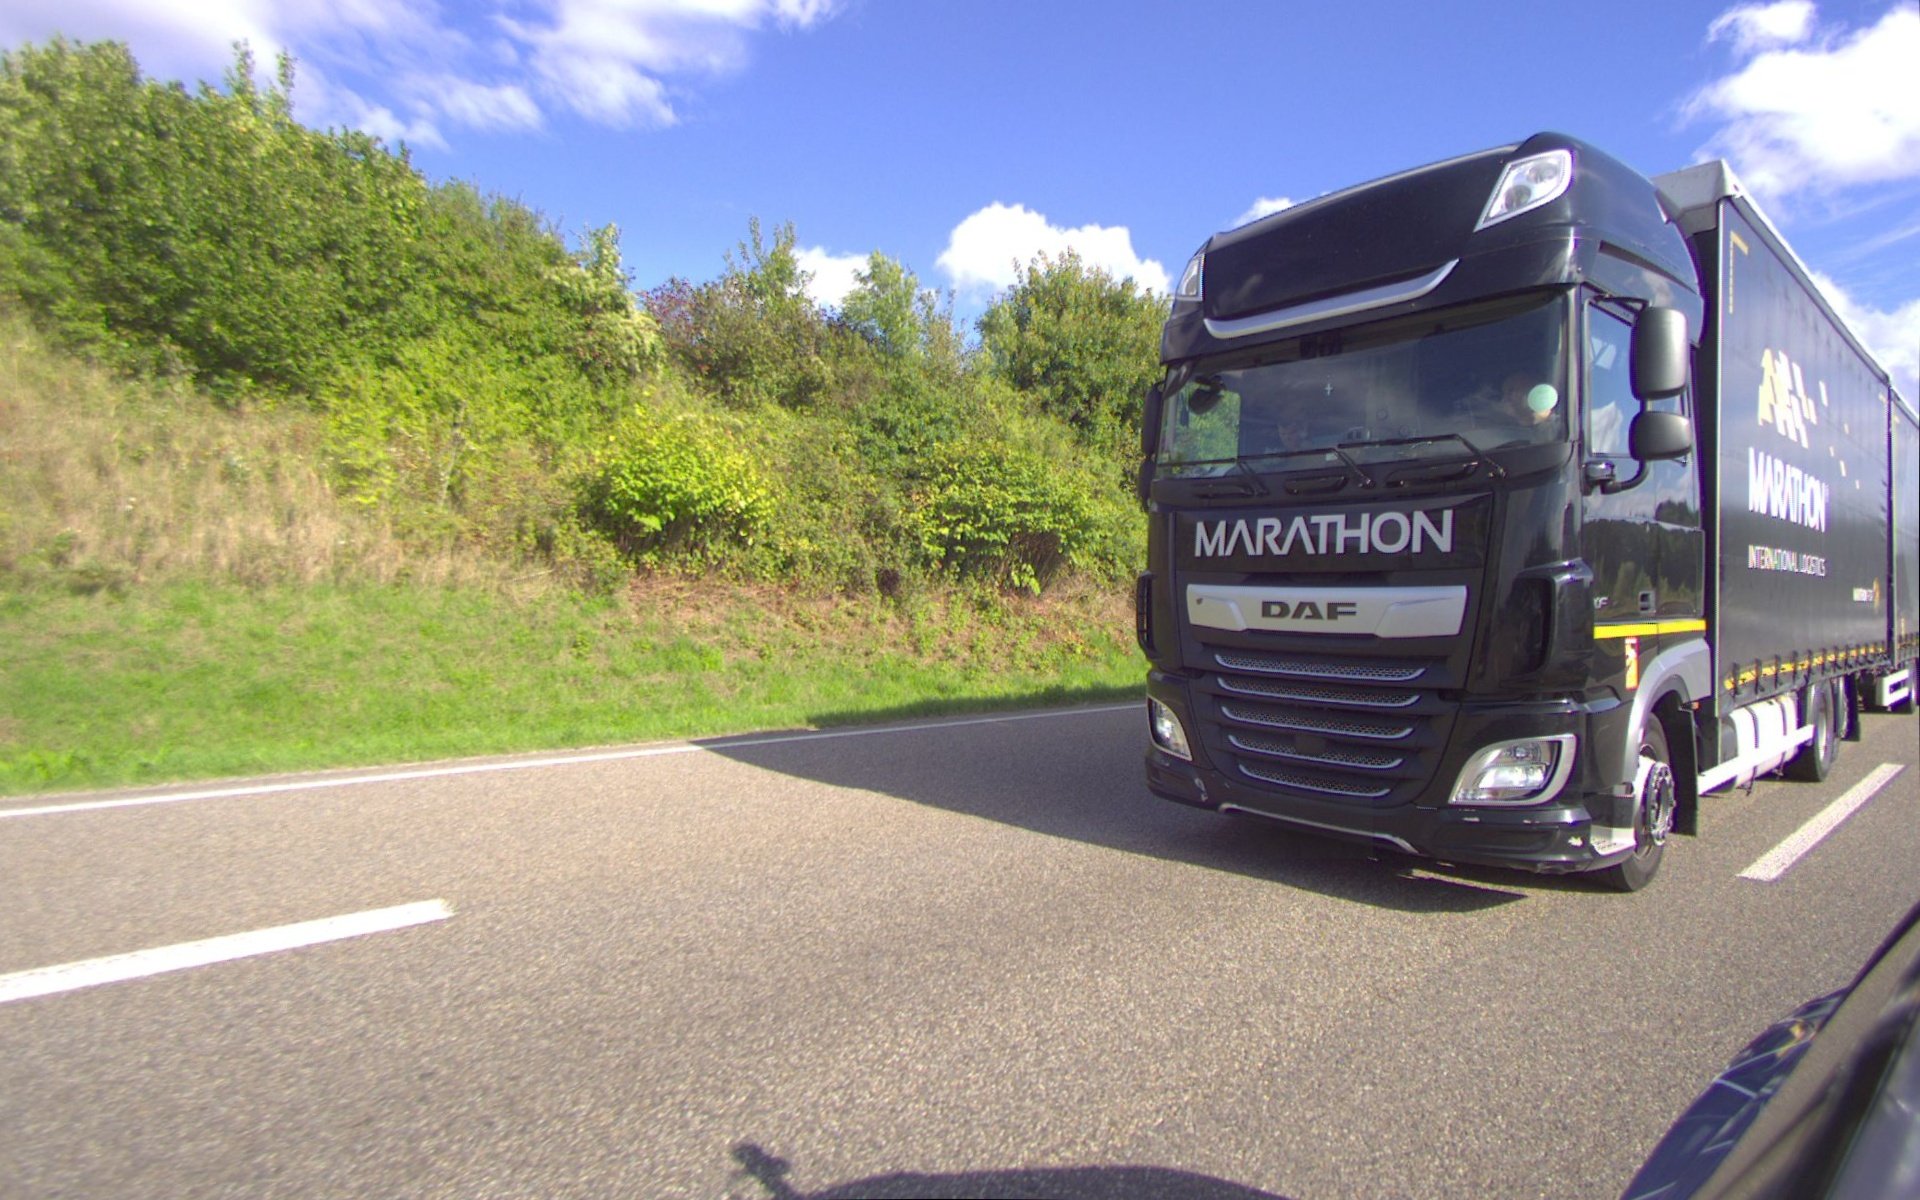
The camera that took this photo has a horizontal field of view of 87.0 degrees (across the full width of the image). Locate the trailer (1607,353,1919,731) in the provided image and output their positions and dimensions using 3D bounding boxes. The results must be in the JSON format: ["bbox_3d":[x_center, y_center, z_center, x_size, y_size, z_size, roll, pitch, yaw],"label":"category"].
[{"bbox_3d":[12.316,-0.567,14.607,8.560,4.012,2.719,1,-2,-42],"label":"trailer"}]

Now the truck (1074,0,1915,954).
[{"bbox_3d":[5.361,-0.659,8.375,10.026,4.090,2.744,0,-2,-42],"label":"truck"}]

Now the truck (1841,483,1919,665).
[{"bbox_3d":[25.145,-0.579,26.008,9.496,4.121,2.415,0,-2,-41],"label":"truck"}]

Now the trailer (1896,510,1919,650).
[{"bbox_3d":[31.998,-0.599,32.066,8.771,4.121,2.415,0,-2,-41],"label":"trailer"}]
